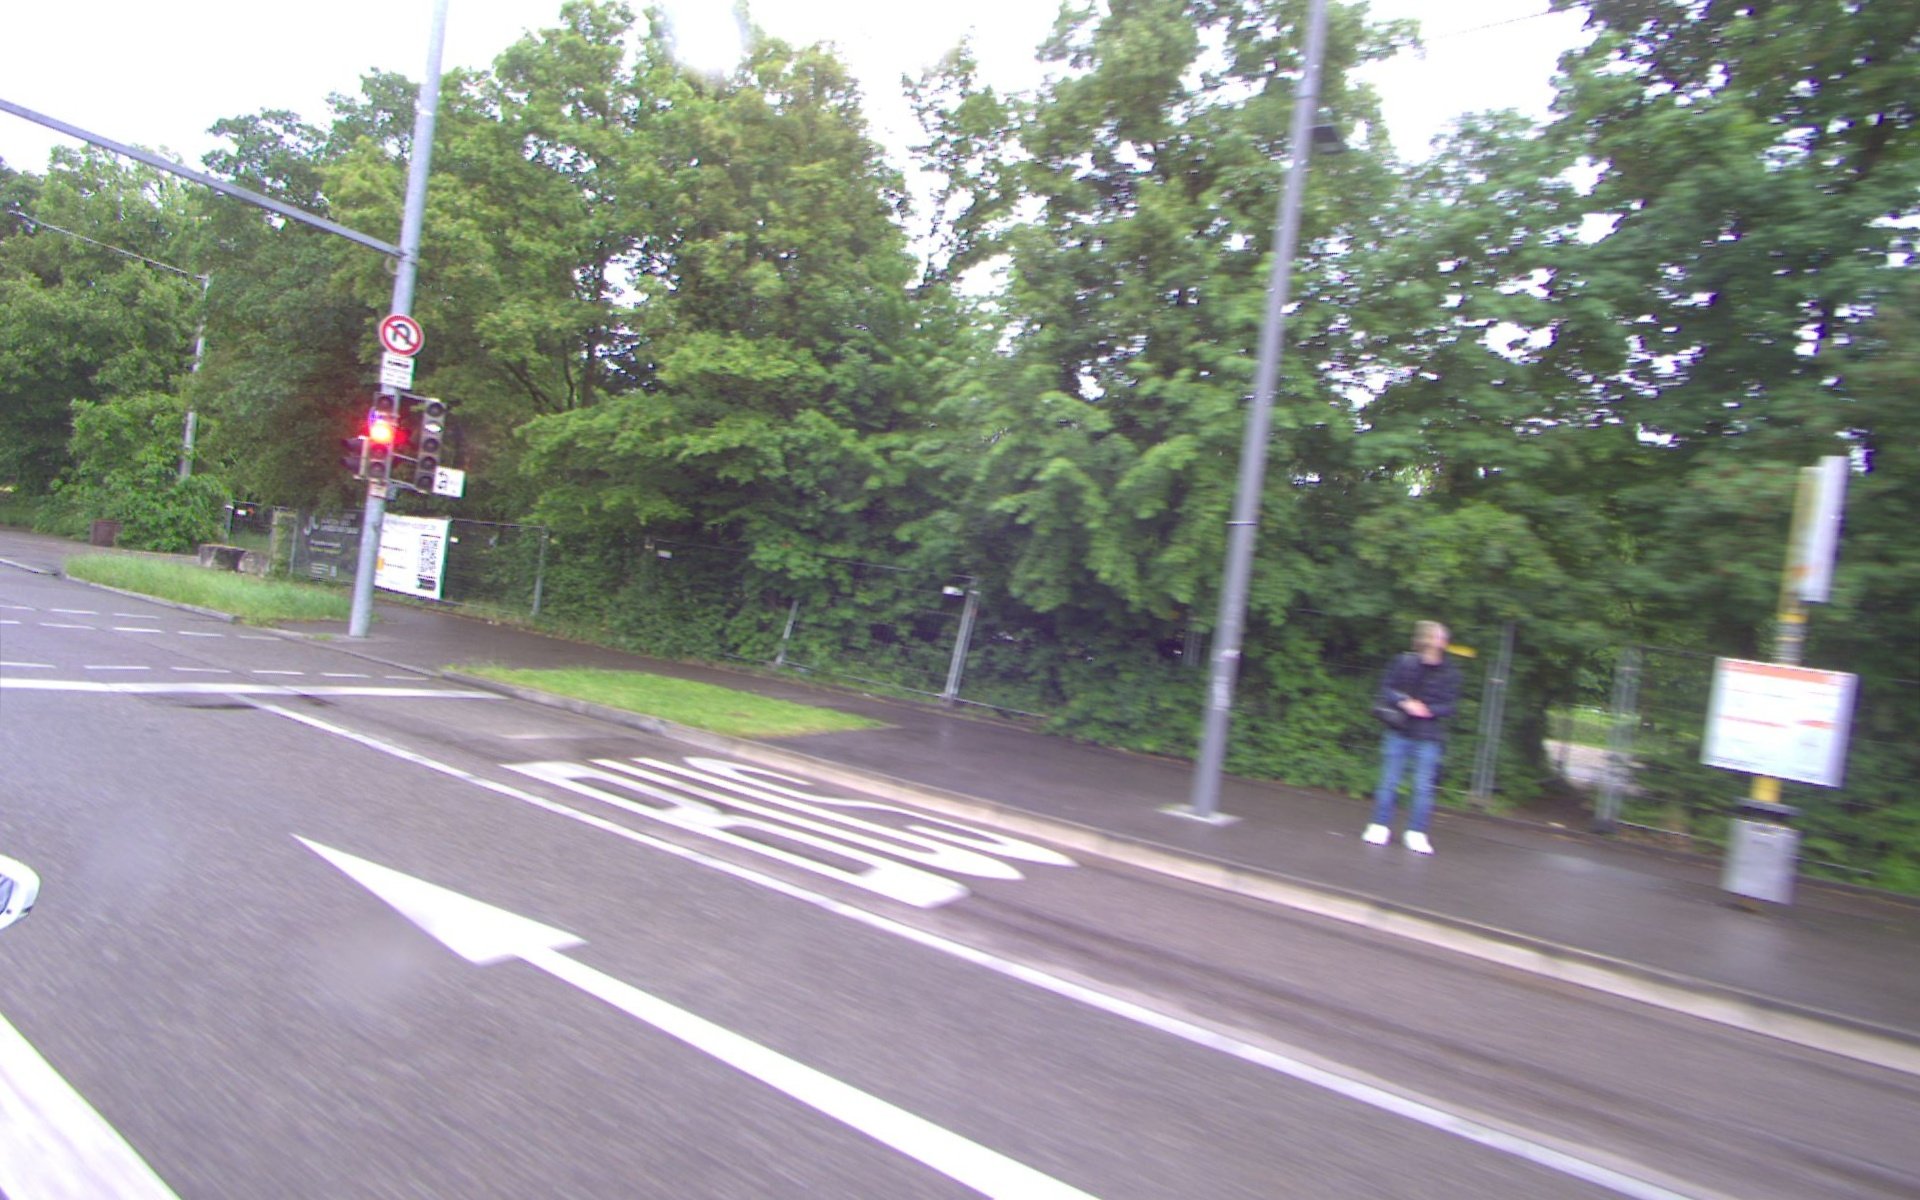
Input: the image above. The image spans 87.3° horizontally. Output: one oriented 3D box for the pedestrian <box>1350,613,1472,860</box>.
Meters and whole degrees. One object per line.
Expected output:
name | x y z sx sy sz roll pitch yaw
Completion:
pedestrian | 3.835 1.127 8.548 0.706 1.924 0.642 7 1 27
